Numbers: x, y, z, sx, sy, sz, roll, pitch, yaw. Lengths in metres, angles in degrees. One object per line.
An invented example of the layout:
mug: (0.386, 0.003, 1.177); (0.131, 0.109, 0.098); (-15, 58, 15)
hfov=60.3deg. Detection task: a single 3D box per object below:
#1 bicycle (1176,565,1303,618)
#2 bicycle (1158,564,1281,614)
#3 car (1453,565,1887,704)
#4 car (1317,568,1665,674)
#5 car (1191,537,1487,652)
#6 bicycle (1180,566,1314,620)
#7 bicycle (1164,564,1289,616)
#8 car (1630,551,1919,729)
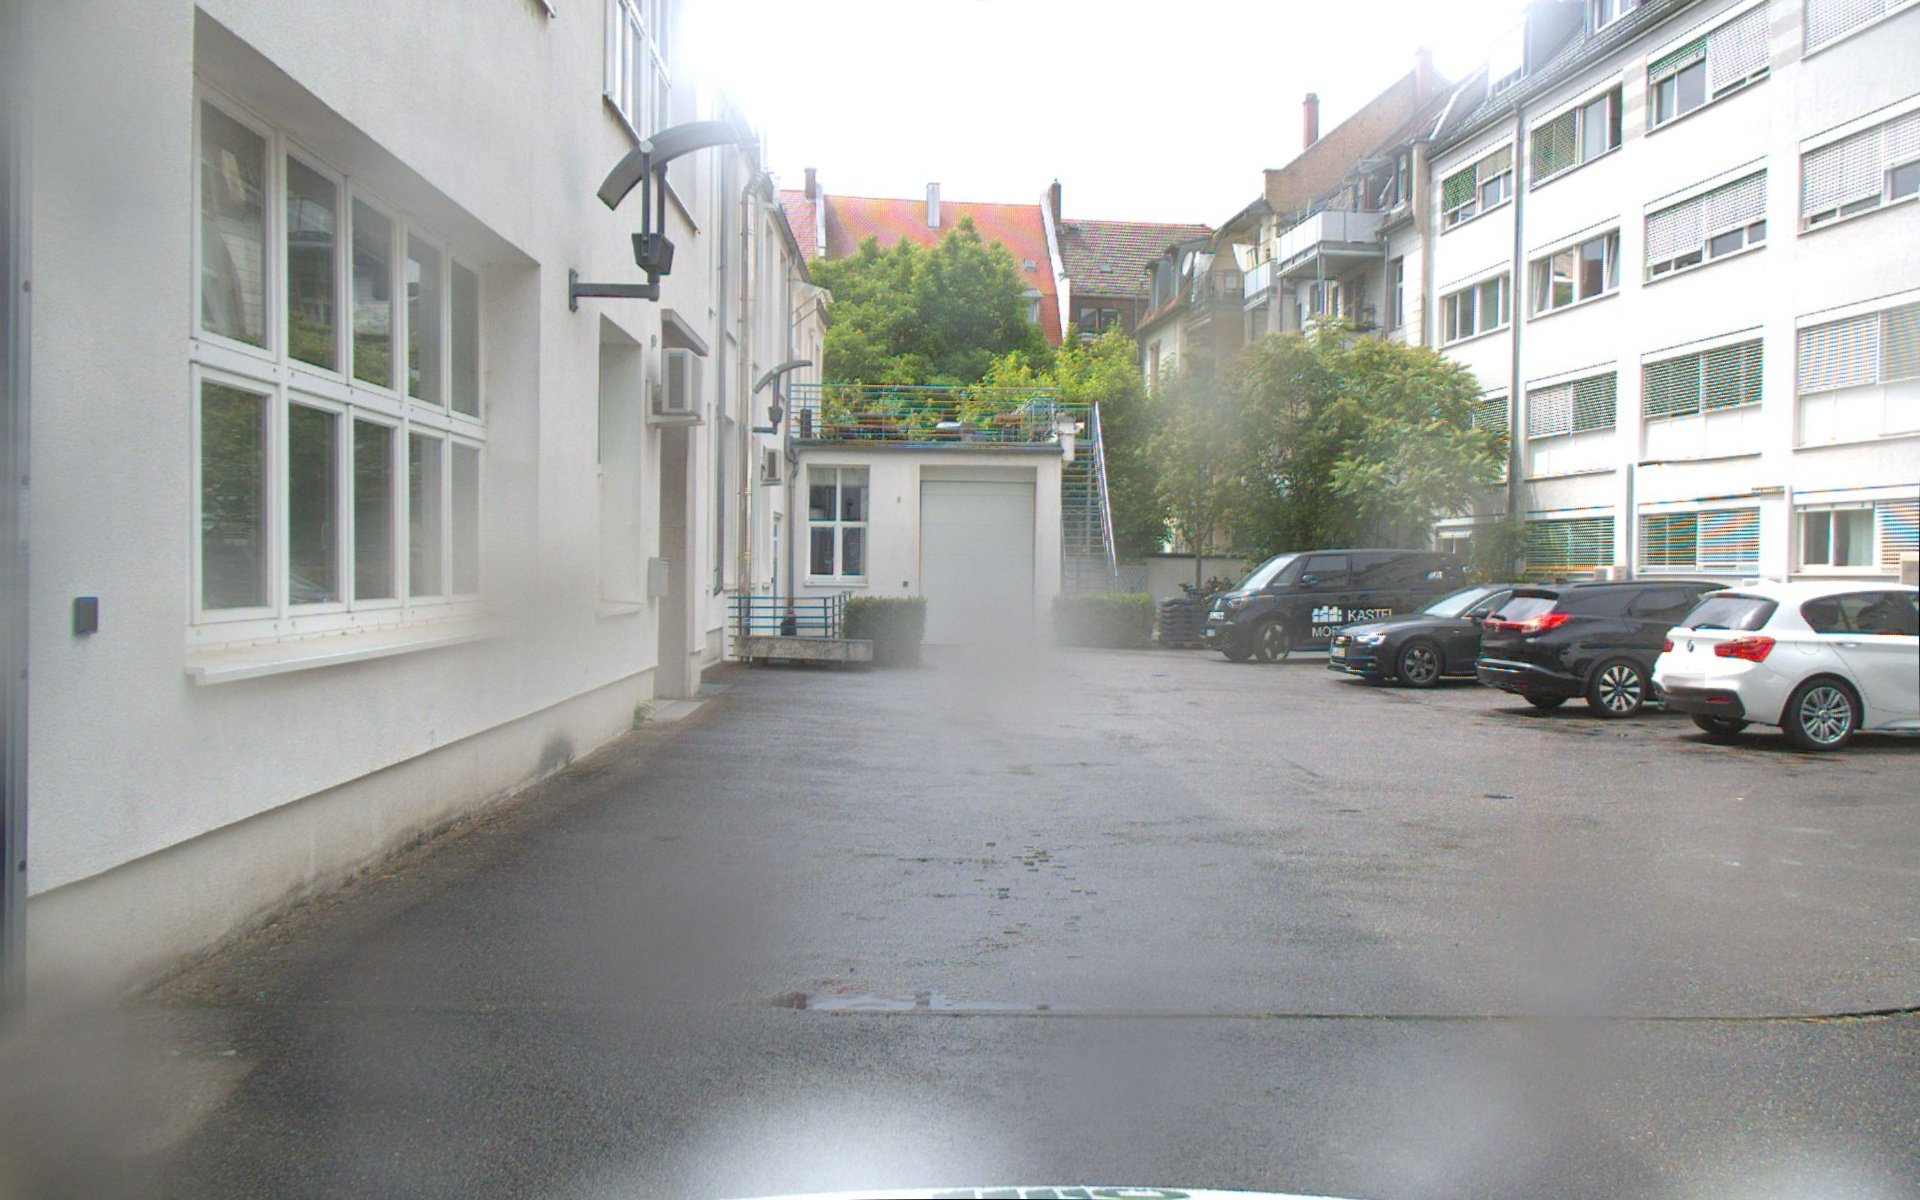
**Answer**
bicycle: (6.438, -0.198, 38.173); (2.787, 1.097, 0.689); (2, 2, -5)
bicycle: (6.203, -0.264, 39.594); (2.787, 1.097, 0.689); (2, 2, -5)
car: (7.893, 0.341, 18.580); (4.092, 1.425, 1.936); (-1, 1, -8)
car: (7.363, 0.254, 23.152); (4.272, 1.372, 1.857); (0, 2, -8)
car: (6.563, -0.131, 28.937); (4.621, 1.865, 2.107); (-1, 1, -8)
bicycle: (6.483, -0.164, 37.395); (2.866, 1.097, 0.689); (2, 2, -5)
bicycle: (6.249, -0.233, 38.882); (2.787, 1.097, 0.689); (2, 2, -5)
car: (8.476, 0.301, 15.087); (4.018, 1.480, 1.831); (-1, 1, -6)
